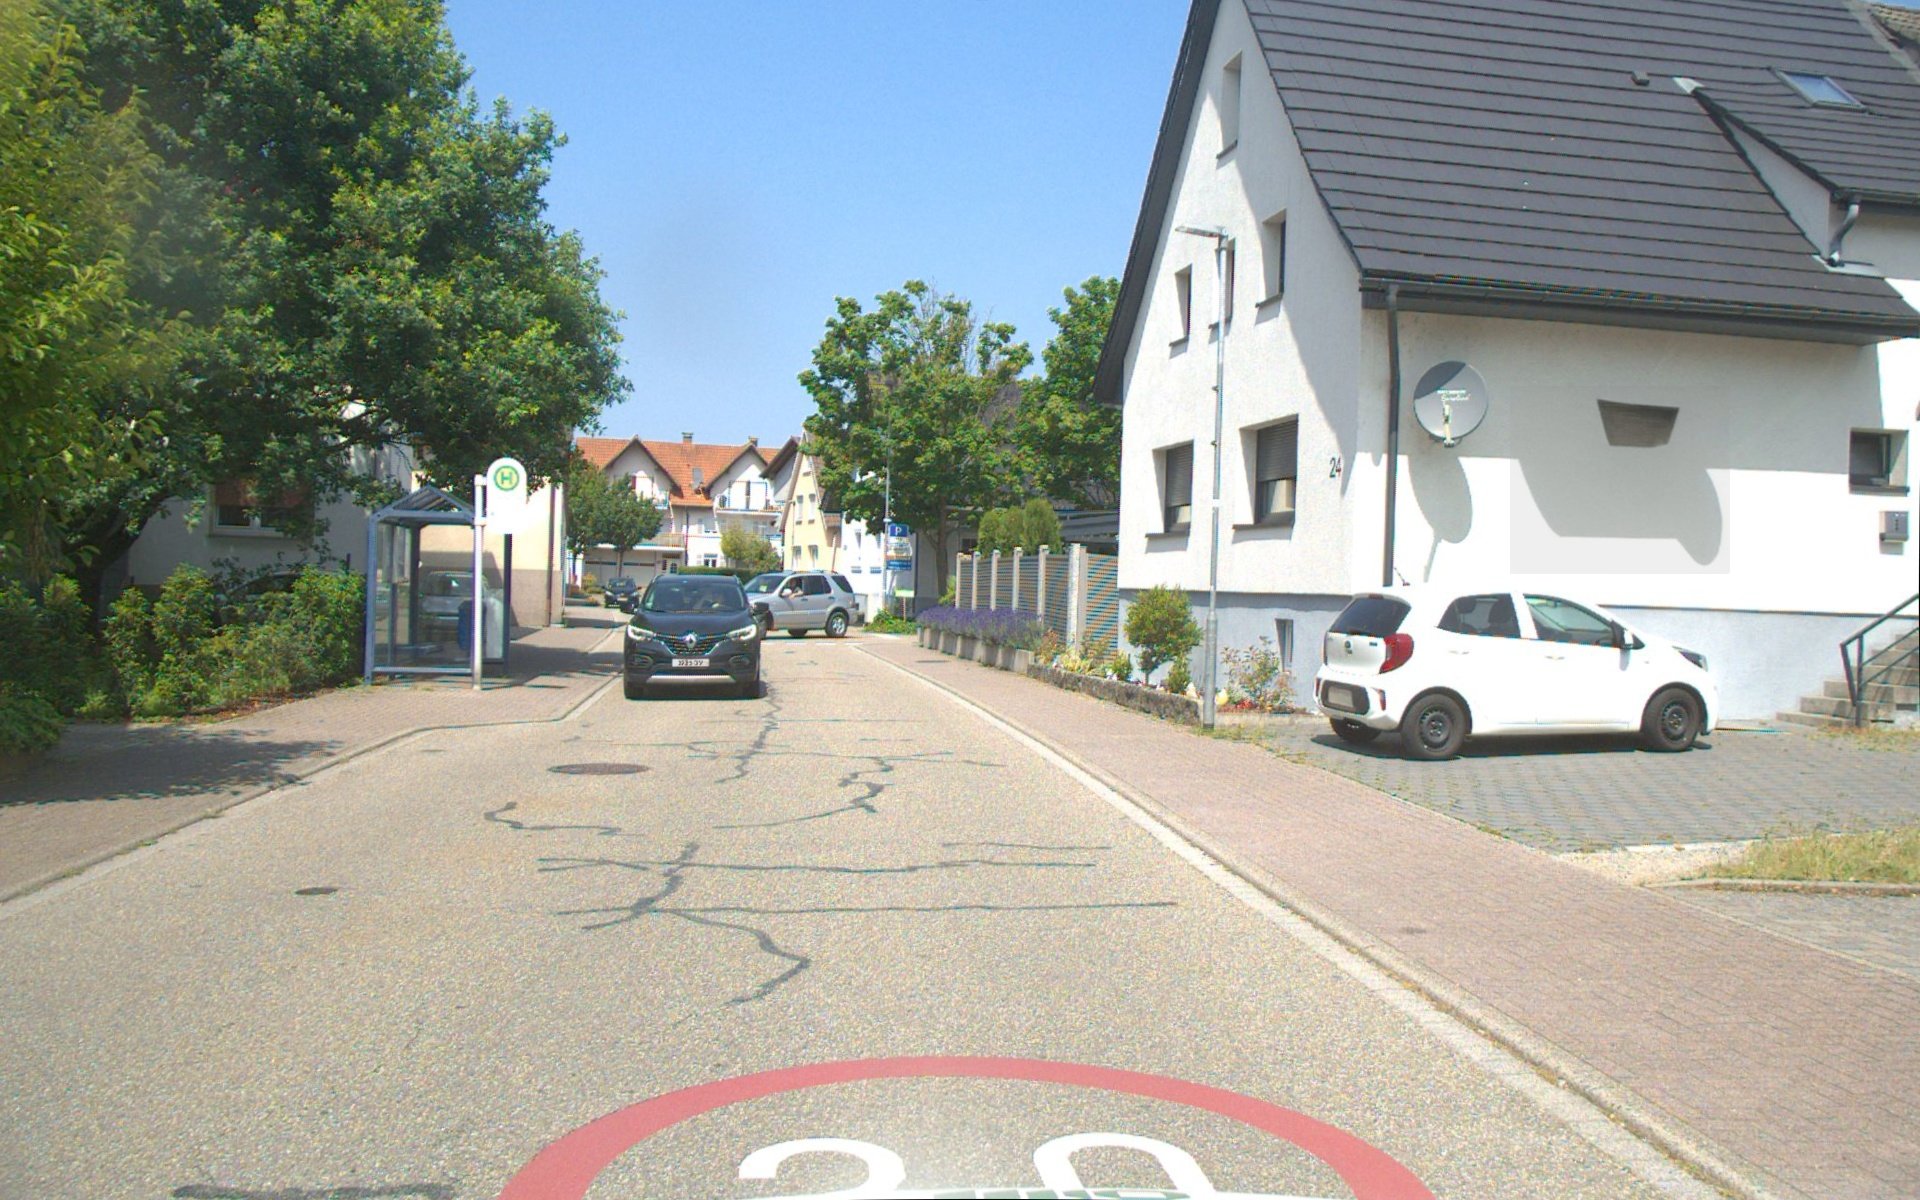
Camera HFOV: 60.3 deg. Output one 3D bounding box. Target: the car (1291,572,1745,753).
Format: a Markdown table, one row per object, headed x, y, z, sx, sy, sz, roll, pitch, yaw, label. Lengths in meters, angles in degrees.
| x | y | z | sx | sy | sz | roll | pitch | yaw | label |
| --- | --- | --- | --- | --- | --- | --- | --- | --- | --- |
| 5.066 | 0.504 | 15.202 | 3.594 | 1.500 | 1.760 | 0 | 2 | -13 | car |

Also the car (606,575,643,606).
| x | y | z | sx | sy | sz | roll | pitch | yaw | label |
| --- | --- | --- | --- | --- | --- | --- | --- | --- | --- |
| -16.583 | -0.484 | 81.591 | 1.599 | 1.512 | 3.985 | 0 | 1 | -14 | car |

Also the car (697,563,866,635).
| x | y | z | sx | sy | sz | roll | pitch | yaw | label |
| --- | --- | --- | --- | --- | --- | --- | --- | --- | --- |
| -4.749 | -0.038 | 44.313 | 1.860 | 1.797 | 4.301 | 3 | 2 | 44 | car |

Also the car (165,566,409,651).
| x | y | z | sx | sy | sz | roll | pitch | yaw | label |
| --- | --- | --- | --- | --- | --- | --- | --- | --- | --- |
| -13.002 | 0.138 | 32.164 | 4.085 | 1.565 | 1.769 | -1 | 1 | -11 | car |

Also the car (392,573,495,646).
| x | y | z | sx | sy | sz | roll | pitch | yaw | label |
| --- | --- | --- | --- | --- | --- | --- | --- | --- | --- |
| -11.321 | 0.167 | 36.463 | 1.747 | 1.459 | 4.044 | 2 | 1 | -12 | car |

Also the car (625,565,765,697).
| x | y | z | sx | sy | sz | roll | pitch | yaw | label |
| --- | --- | --- | --- | --- | --- | --- | --- | --- | --- |
| -3.646 | 0.369 | 23.027 | 1.743 | 1.651 | 4.097 | 0 | 1 | -8 | car |
